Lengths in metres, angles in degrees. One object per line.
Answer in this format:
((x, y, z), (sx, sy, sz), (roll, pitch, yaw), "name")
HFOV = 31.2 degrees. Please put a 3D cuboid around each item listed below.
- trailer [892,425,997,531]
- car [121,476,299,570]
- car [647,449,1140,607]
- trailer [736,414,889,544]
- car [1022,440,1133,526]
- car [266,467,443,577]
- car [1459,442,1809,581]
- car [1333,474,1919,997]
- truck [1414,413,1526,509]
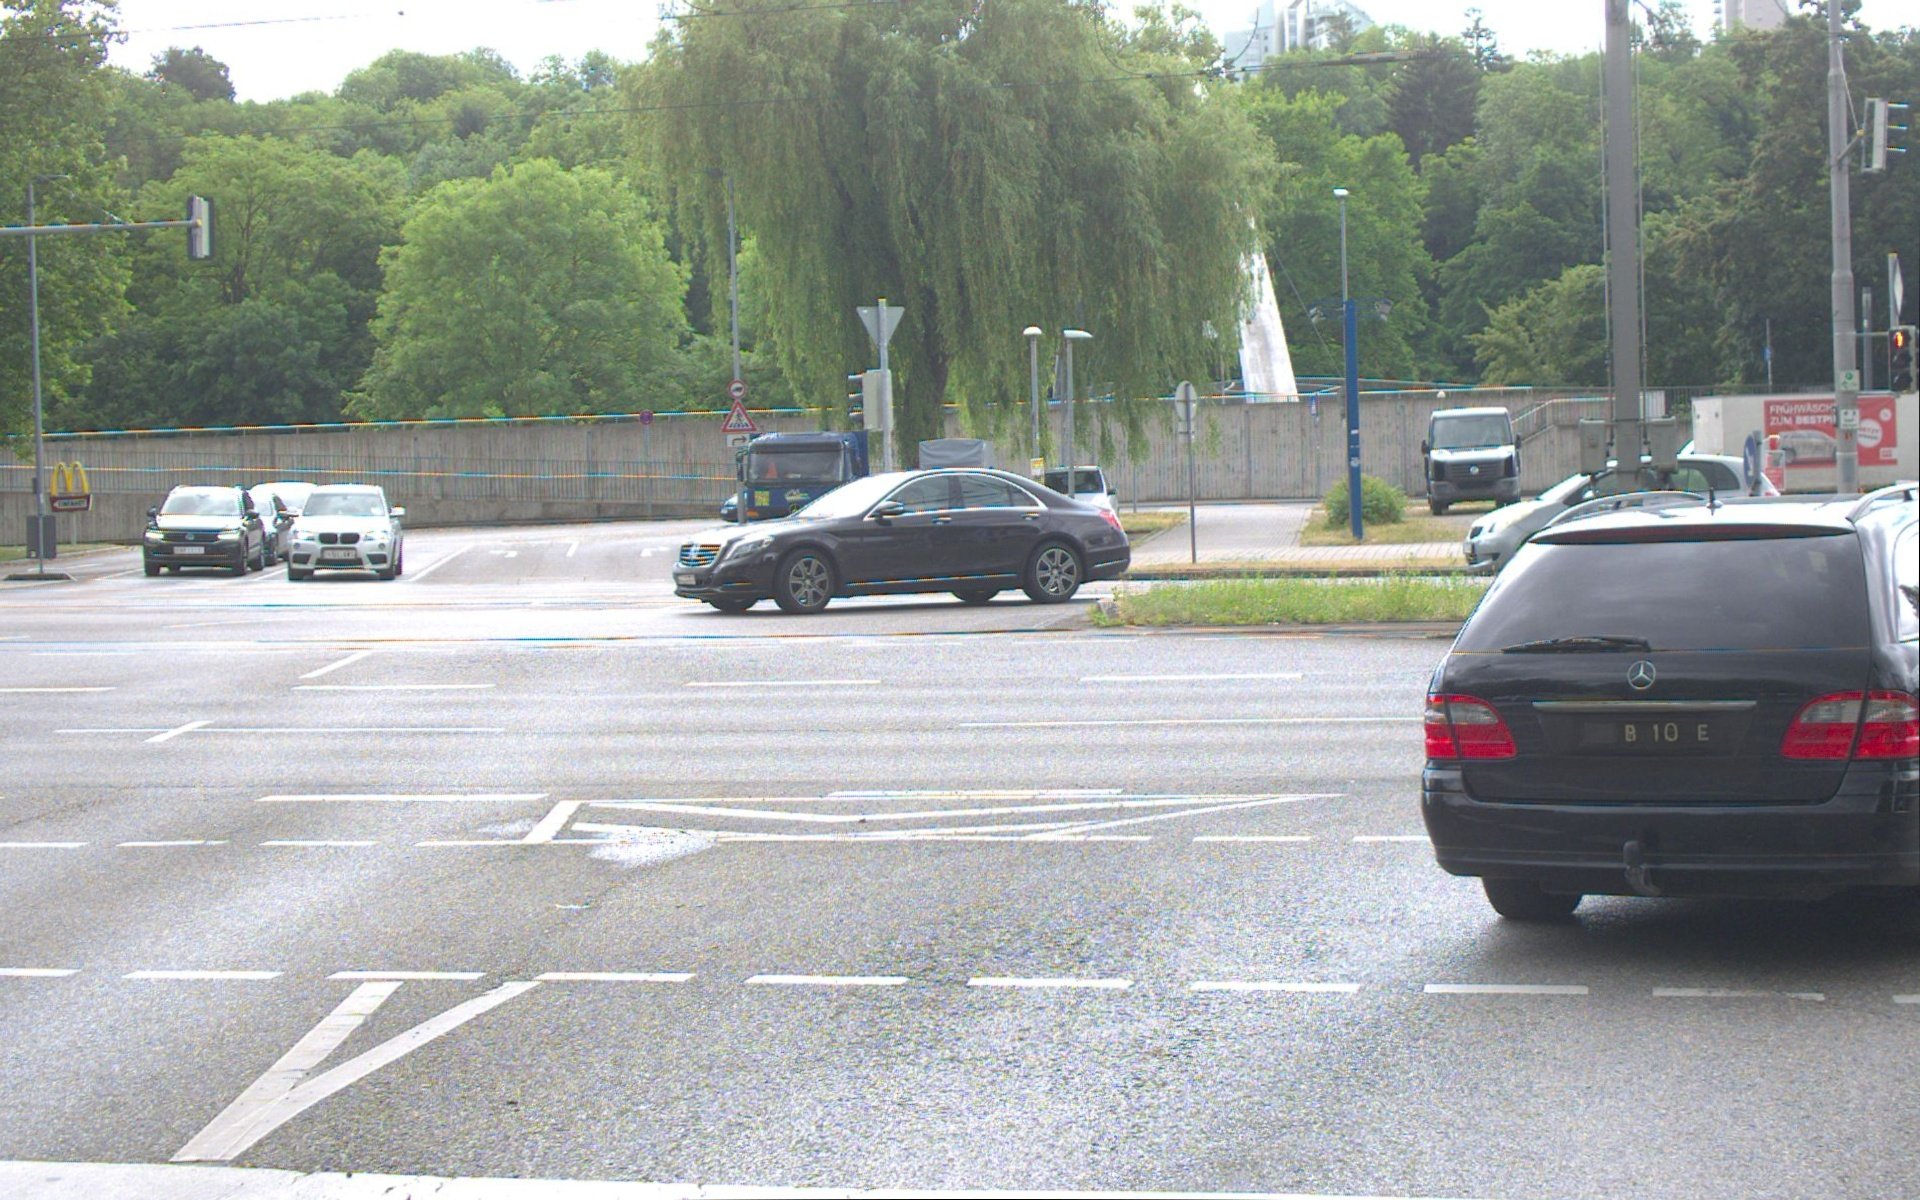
((-0.307, -2.652, 75.265), (1.994, 2.176, 4.000), (-2, 1, 3), "trailer")
((-13.986, -1.462, 64.307), (1.994, 1.634, 3.999), (-1, 2, 7), "car")
((-0.683, -0.803, 37.016), (5.051, 1.518, 1.744), (-3, 2, -30), "car")
((-3.089, -2.561, 73.139), (2.353, 2.573, 4.919), (-2, 1, 7), "trailer")
((2.569, -2.540, 74.302), (1.994, 1.744, 3.999), (-1, 2, 7), "car")
((-10.821, -1.430, 61.717), (1.994, 1.853, 3.999), (-1, 2, 7), "car")
((7.812, -1.039, 40.092), (3.770, 1.503, 1.704), (-1, 2, 3), "car")
((3.112, 0.320, 12.543), (1.825, 1.504, 4.567), (0, 2, 29), "car")
((11.463, -3.092, 77.571), (2.235, 2.007, 5.239), (-2, 1, 6), "truck")
